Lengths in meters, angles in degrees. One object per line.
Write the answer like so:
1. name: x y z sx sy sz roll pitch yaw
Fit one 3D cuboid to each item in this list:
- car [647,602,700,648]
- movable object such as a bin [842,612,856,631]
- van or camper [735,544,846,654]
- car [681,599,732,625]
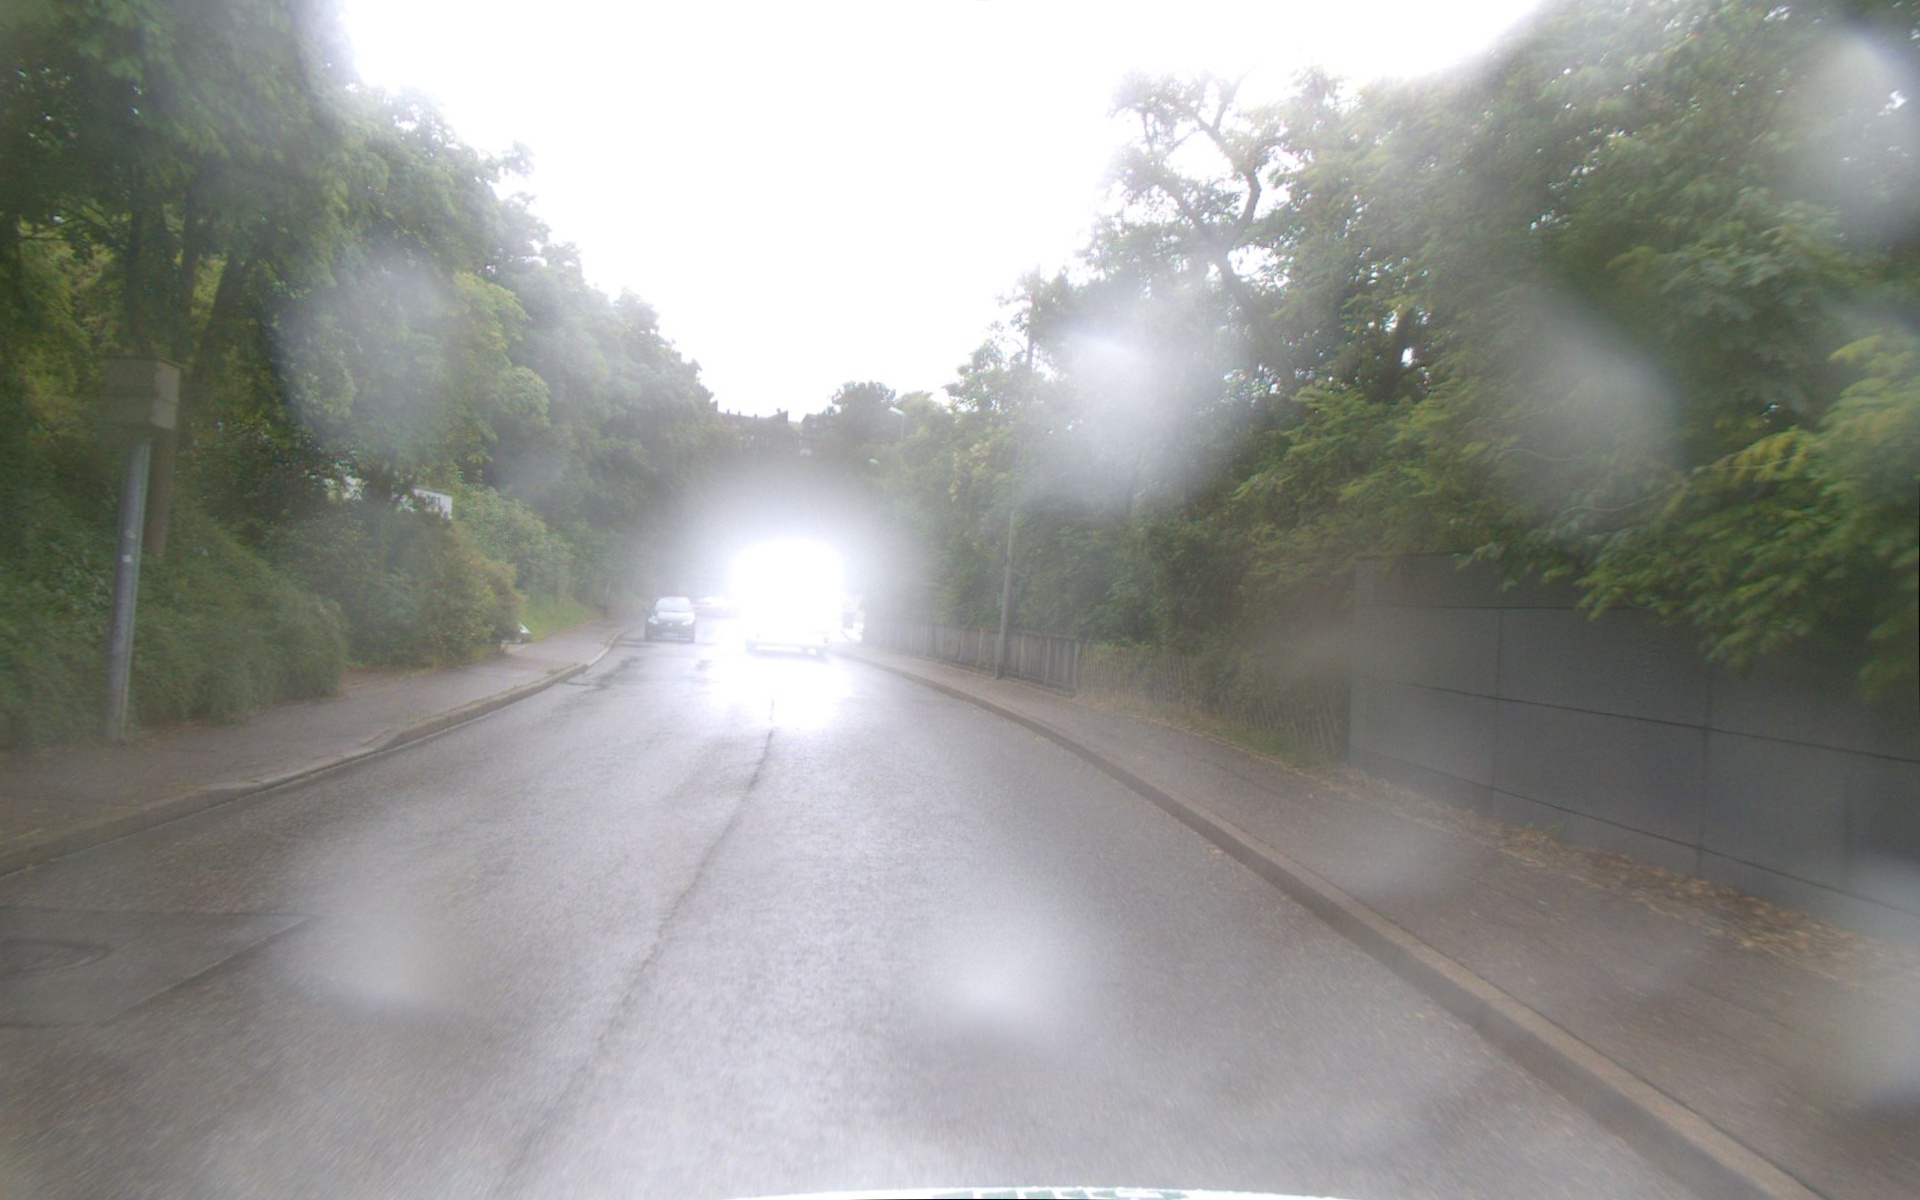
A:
1. car: -9.396 0.802 54.412 1.620 1.409 3.522 2 0 -9
2. movable object such as a bin: -7.222 1.397 107.792 0.762 1.153 0.738 4 -1 0
3. van or camper: -5.003 0.041 47.879 2.496 2.976 5.927 0 -1 -13
4. car: -17.303 0.849 113.256 1.951 1.588 4.656 4 0 10
